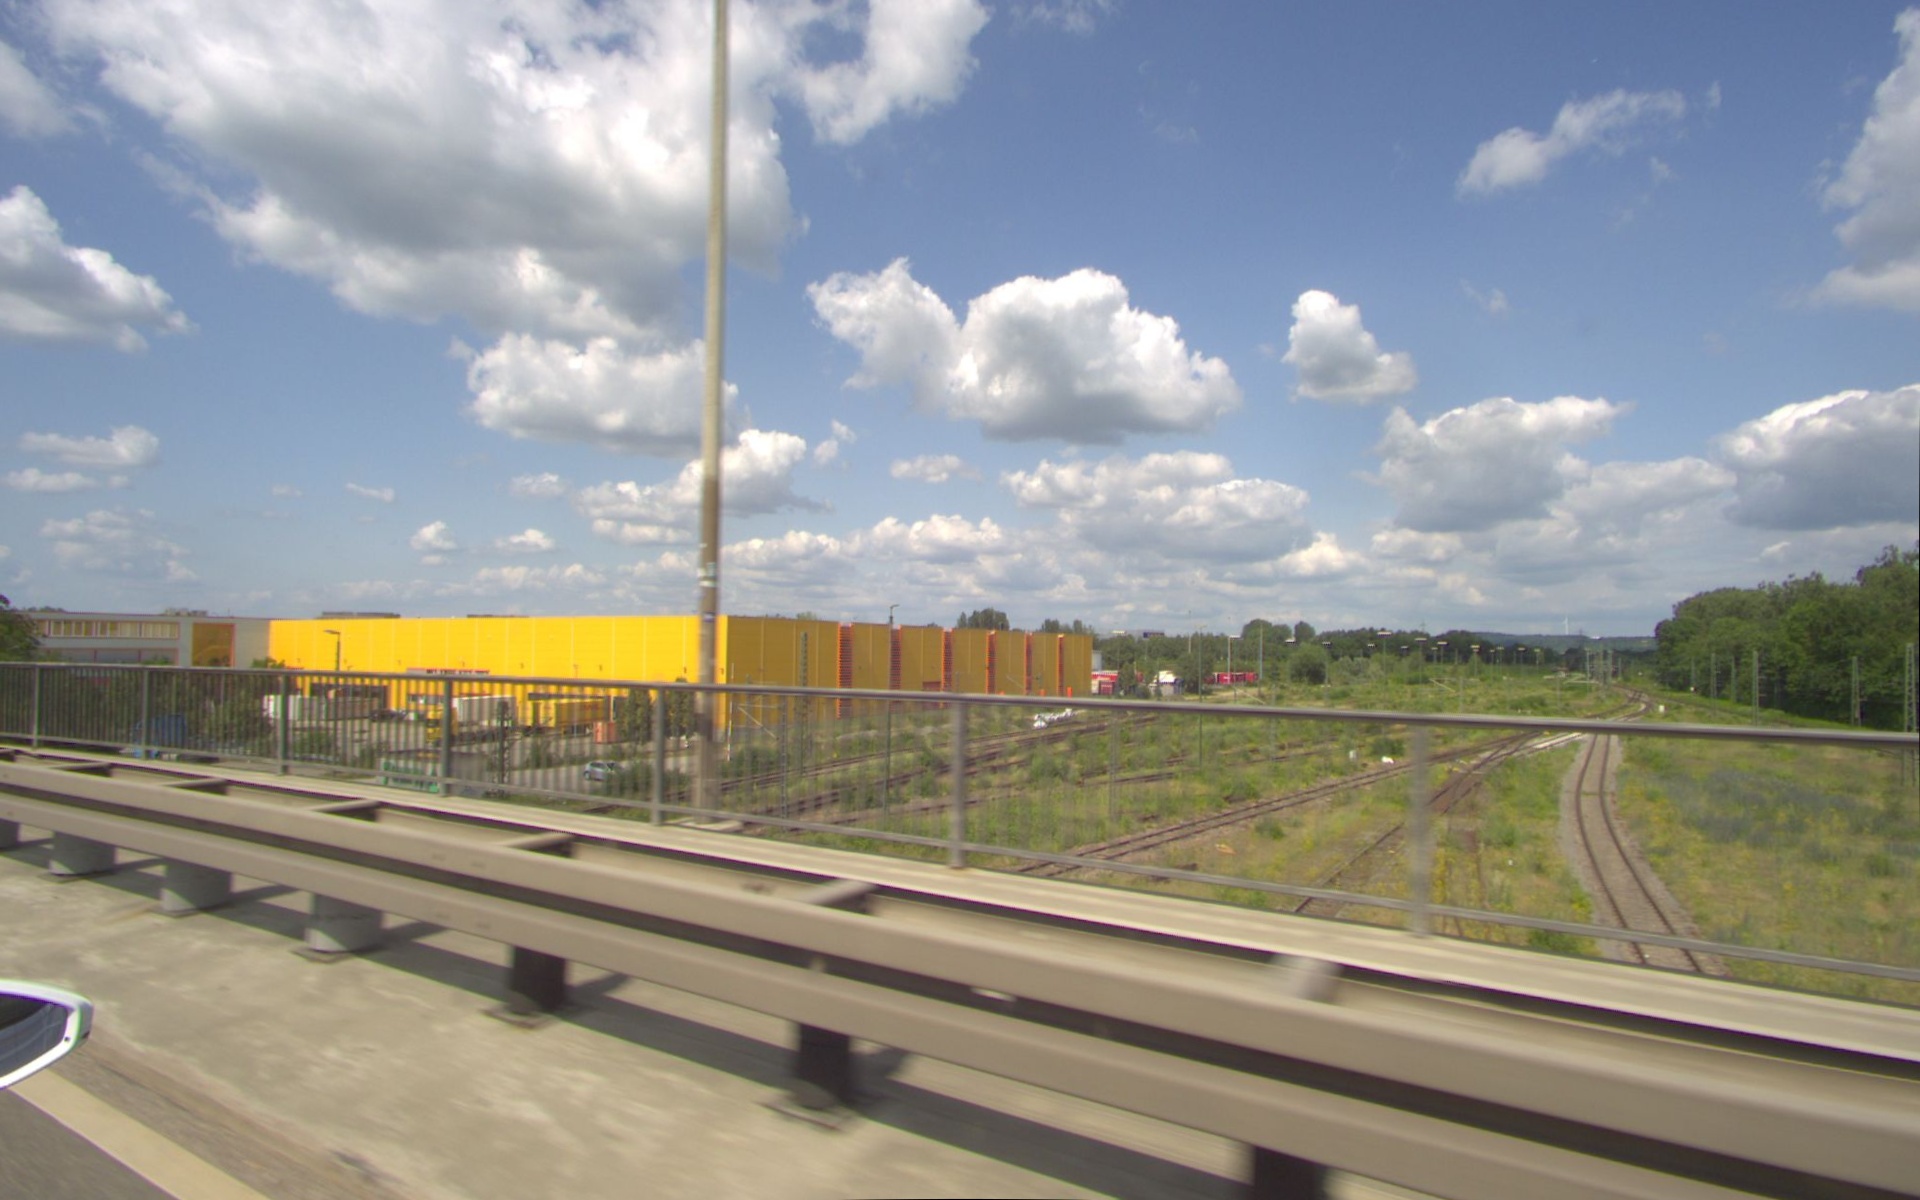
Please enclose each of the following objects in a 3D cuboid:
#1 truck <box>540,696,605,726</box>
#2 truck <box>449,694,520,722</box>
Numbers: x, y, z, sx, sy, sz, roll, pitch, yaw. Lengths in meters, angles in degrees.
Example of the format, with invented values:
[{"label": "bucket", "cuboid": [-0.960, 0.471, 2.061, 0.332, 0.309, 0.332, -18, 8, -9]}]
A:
[{"label": "truck", "cuboid": [-44.289, 12.621, 114.651, 2.537, 3.225, 7.008, -2, -5, 29]}, {"label": "truck", "cuboid": [-57.727, 13.041, 121.784, 2.649, 3.225, 7.645, -3, -5, 29]}]
